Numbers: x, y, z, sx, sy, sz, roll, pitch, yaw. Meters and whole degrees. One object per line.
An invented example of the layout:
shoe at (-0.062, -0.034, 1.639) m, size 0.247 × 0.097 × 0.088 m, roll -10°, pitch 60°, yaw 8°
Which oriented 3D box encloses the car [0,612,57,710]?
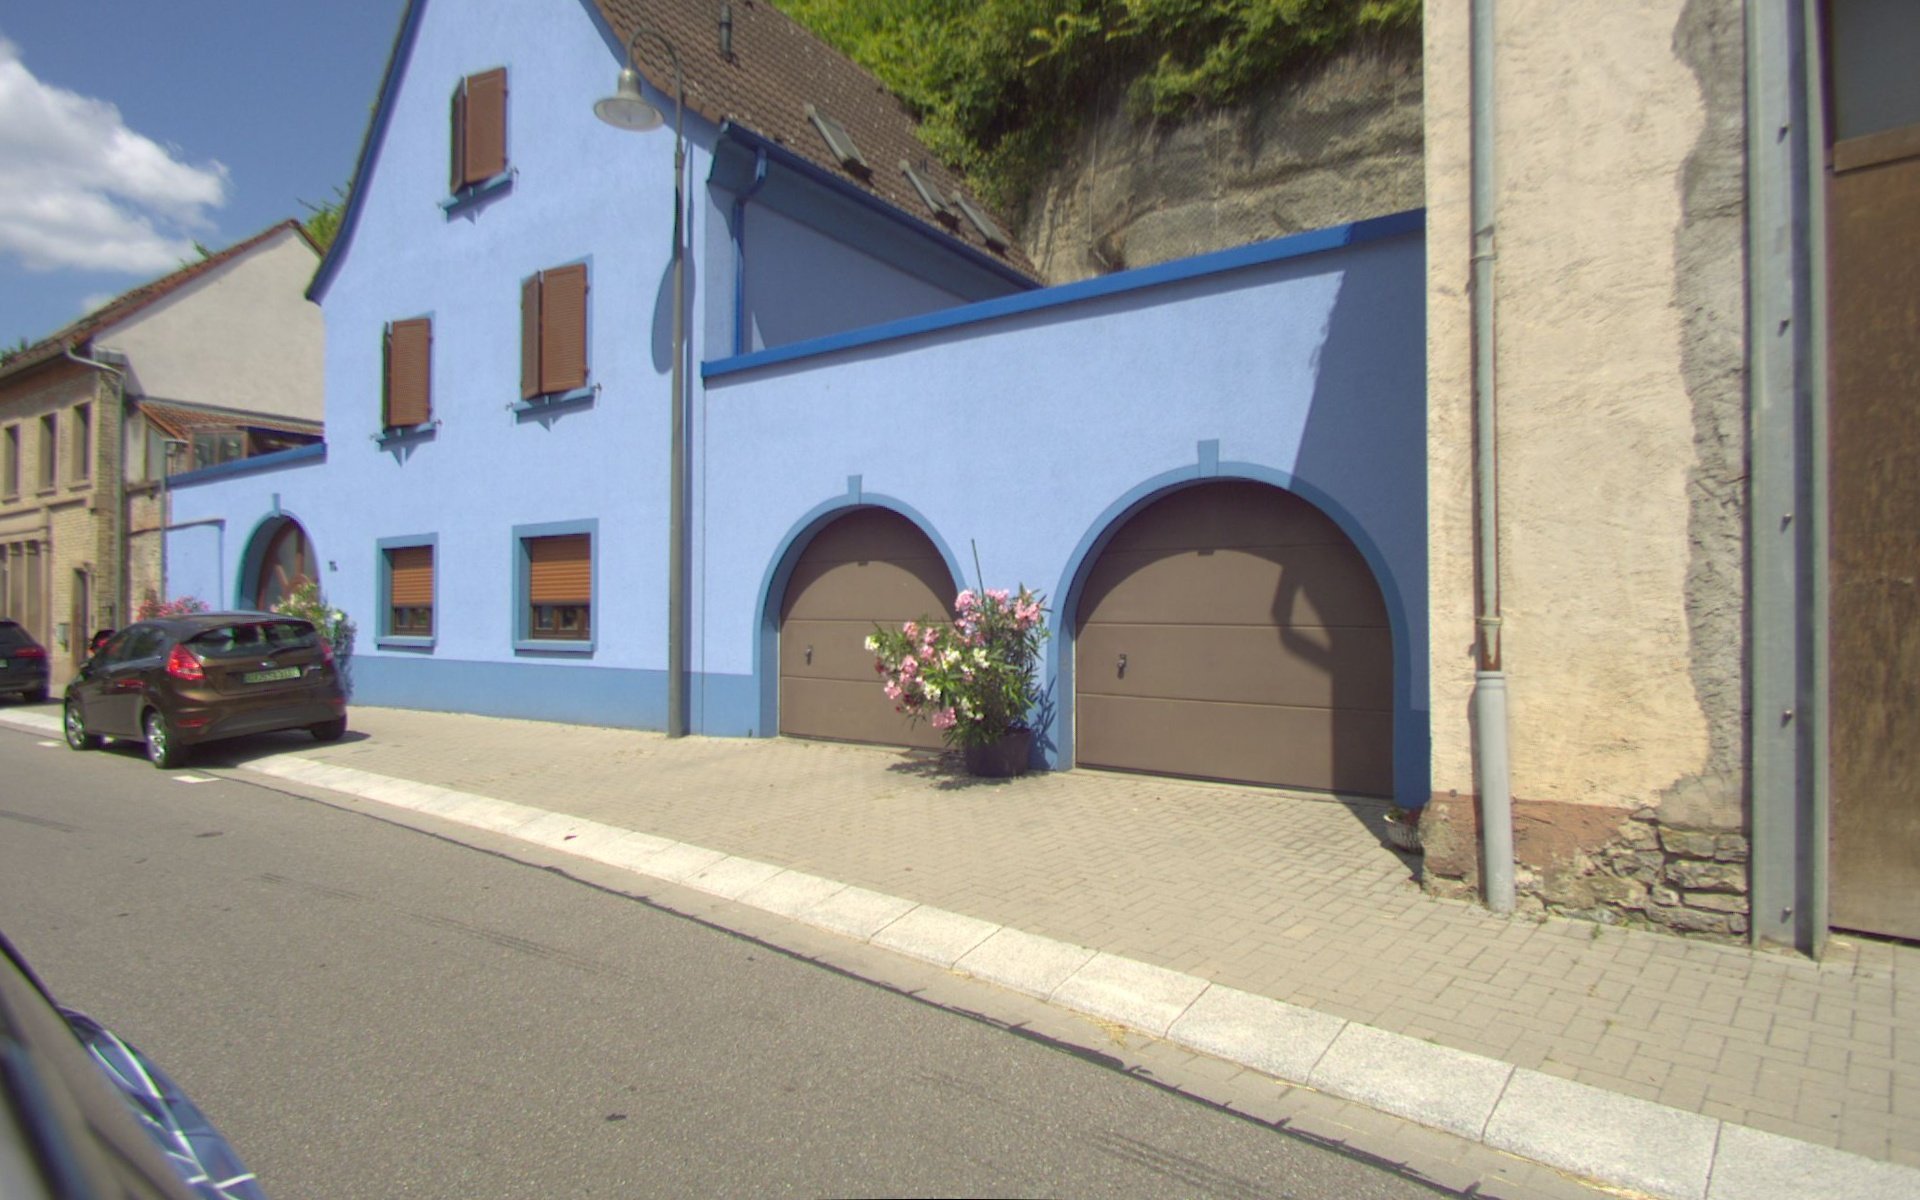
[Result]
car at (-16.855, 1.025, 16.695) m, size 4.657 × 1.475 × 1.869 m, roll -2°, pitch 1°, yaw 35°

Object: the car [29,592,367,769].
car at (-8.346, 0.794, 11.006) m, size 3.845 × 1.541 × 1.703 m, roll -2°, pitch 1°, yaw 34°

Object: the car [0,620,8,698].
car at (-20.581, 1.117, 19.702) m, size 4.532 × 1.477 × 1.941 m, roll 0°, pitch 0°, yaw 33°
